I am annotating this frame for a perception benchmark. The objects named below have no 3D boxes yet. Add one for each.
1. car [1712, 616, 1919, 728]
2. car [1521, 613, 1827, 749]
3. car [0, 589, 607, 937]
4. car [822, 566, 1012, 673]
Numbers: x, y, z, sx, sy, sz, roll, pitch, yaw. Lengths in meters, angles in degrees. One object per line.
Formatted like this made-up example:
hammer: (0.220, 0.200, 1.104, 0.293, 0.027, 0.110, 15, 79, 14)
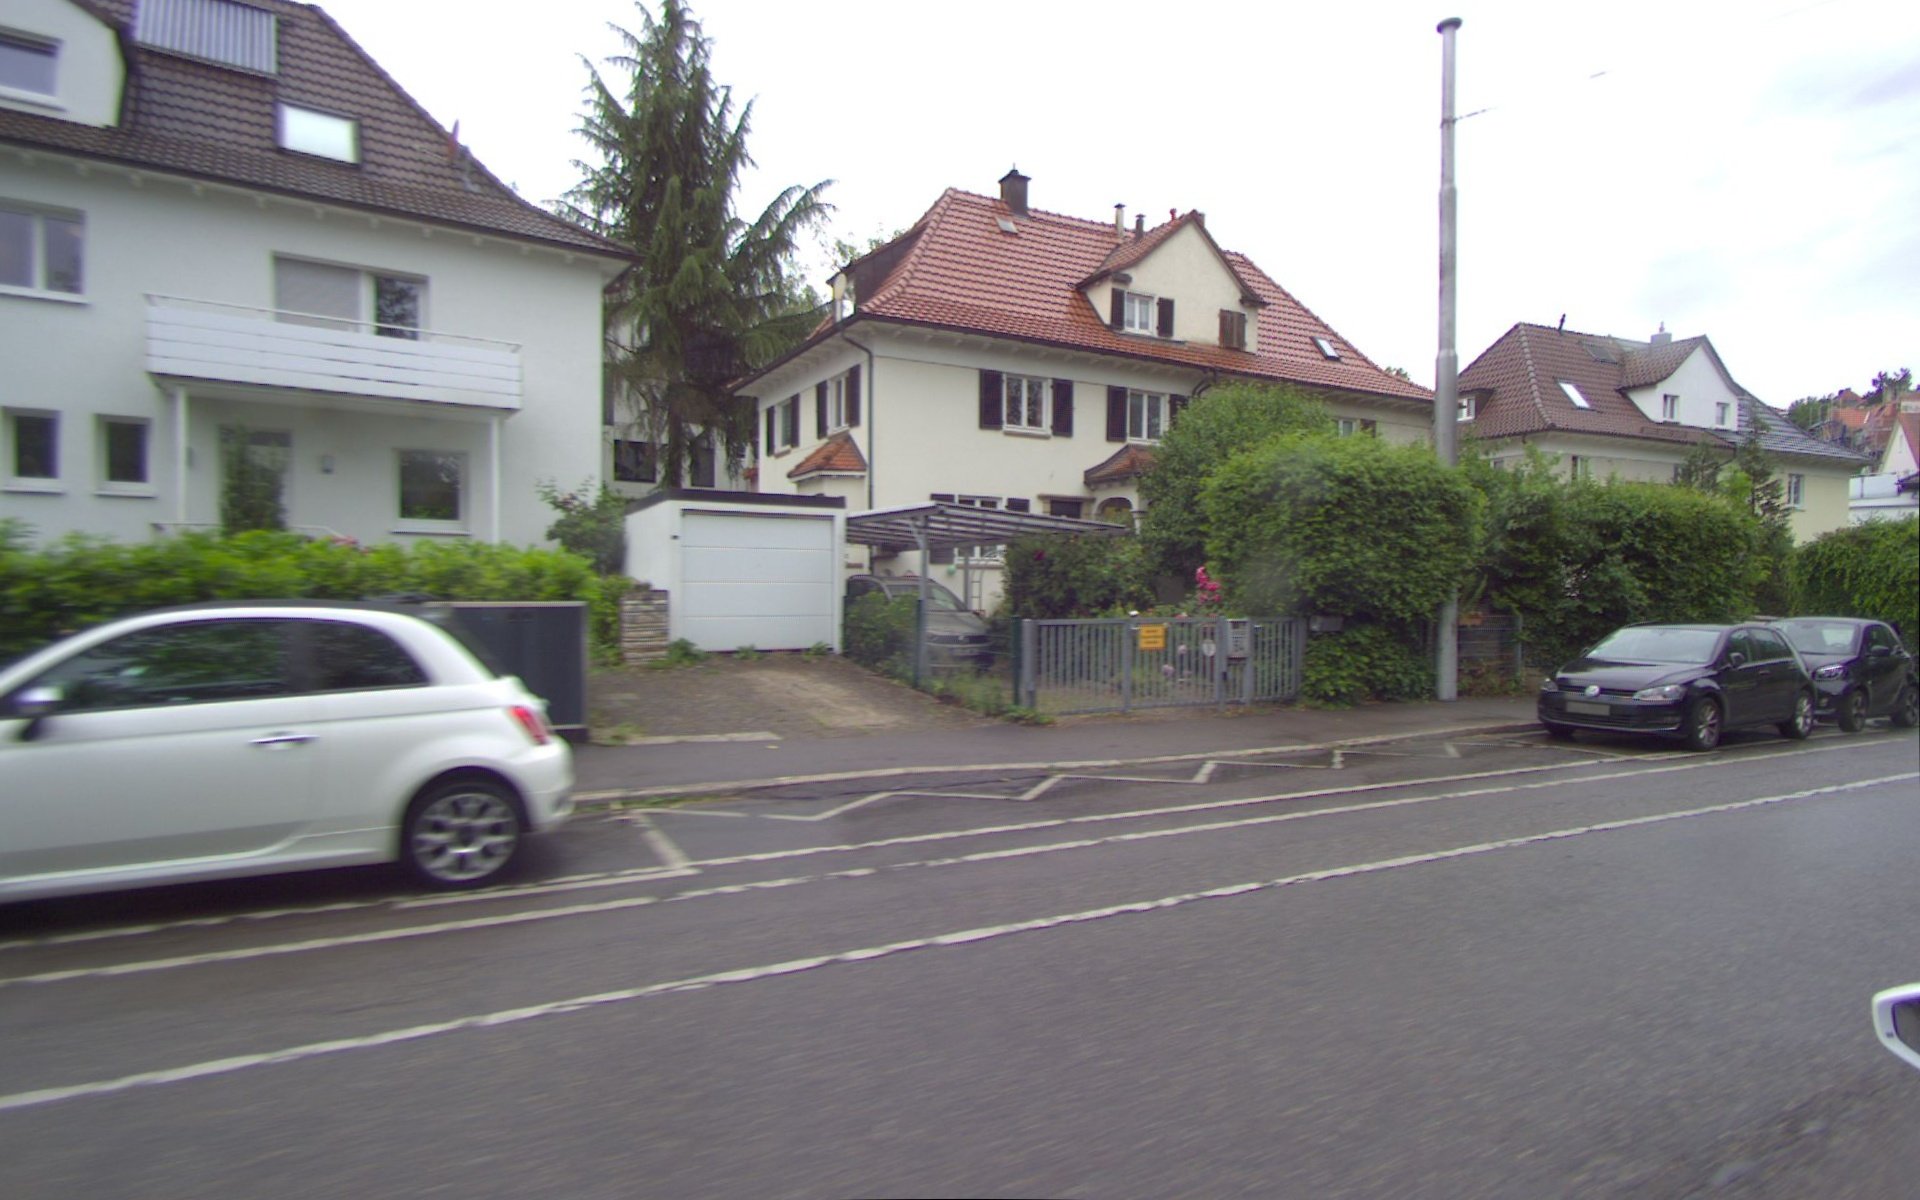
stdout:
car: (12.624, 0.978, 14.705, 2.992, 1.473, 1.513, 1, 0, -29)
car: (9.044, 0.904, 12.641, 4.168, 1.437, 1.678, 1, 0, -32)
car: (-3.933, 0.732, 5.361, 3.664, 1.487, 1.692, 1, -2, -28)
car: (-0.889, 0.275, 17.651, 1.642, 1.467, 3.967, 2, 3, -30)
